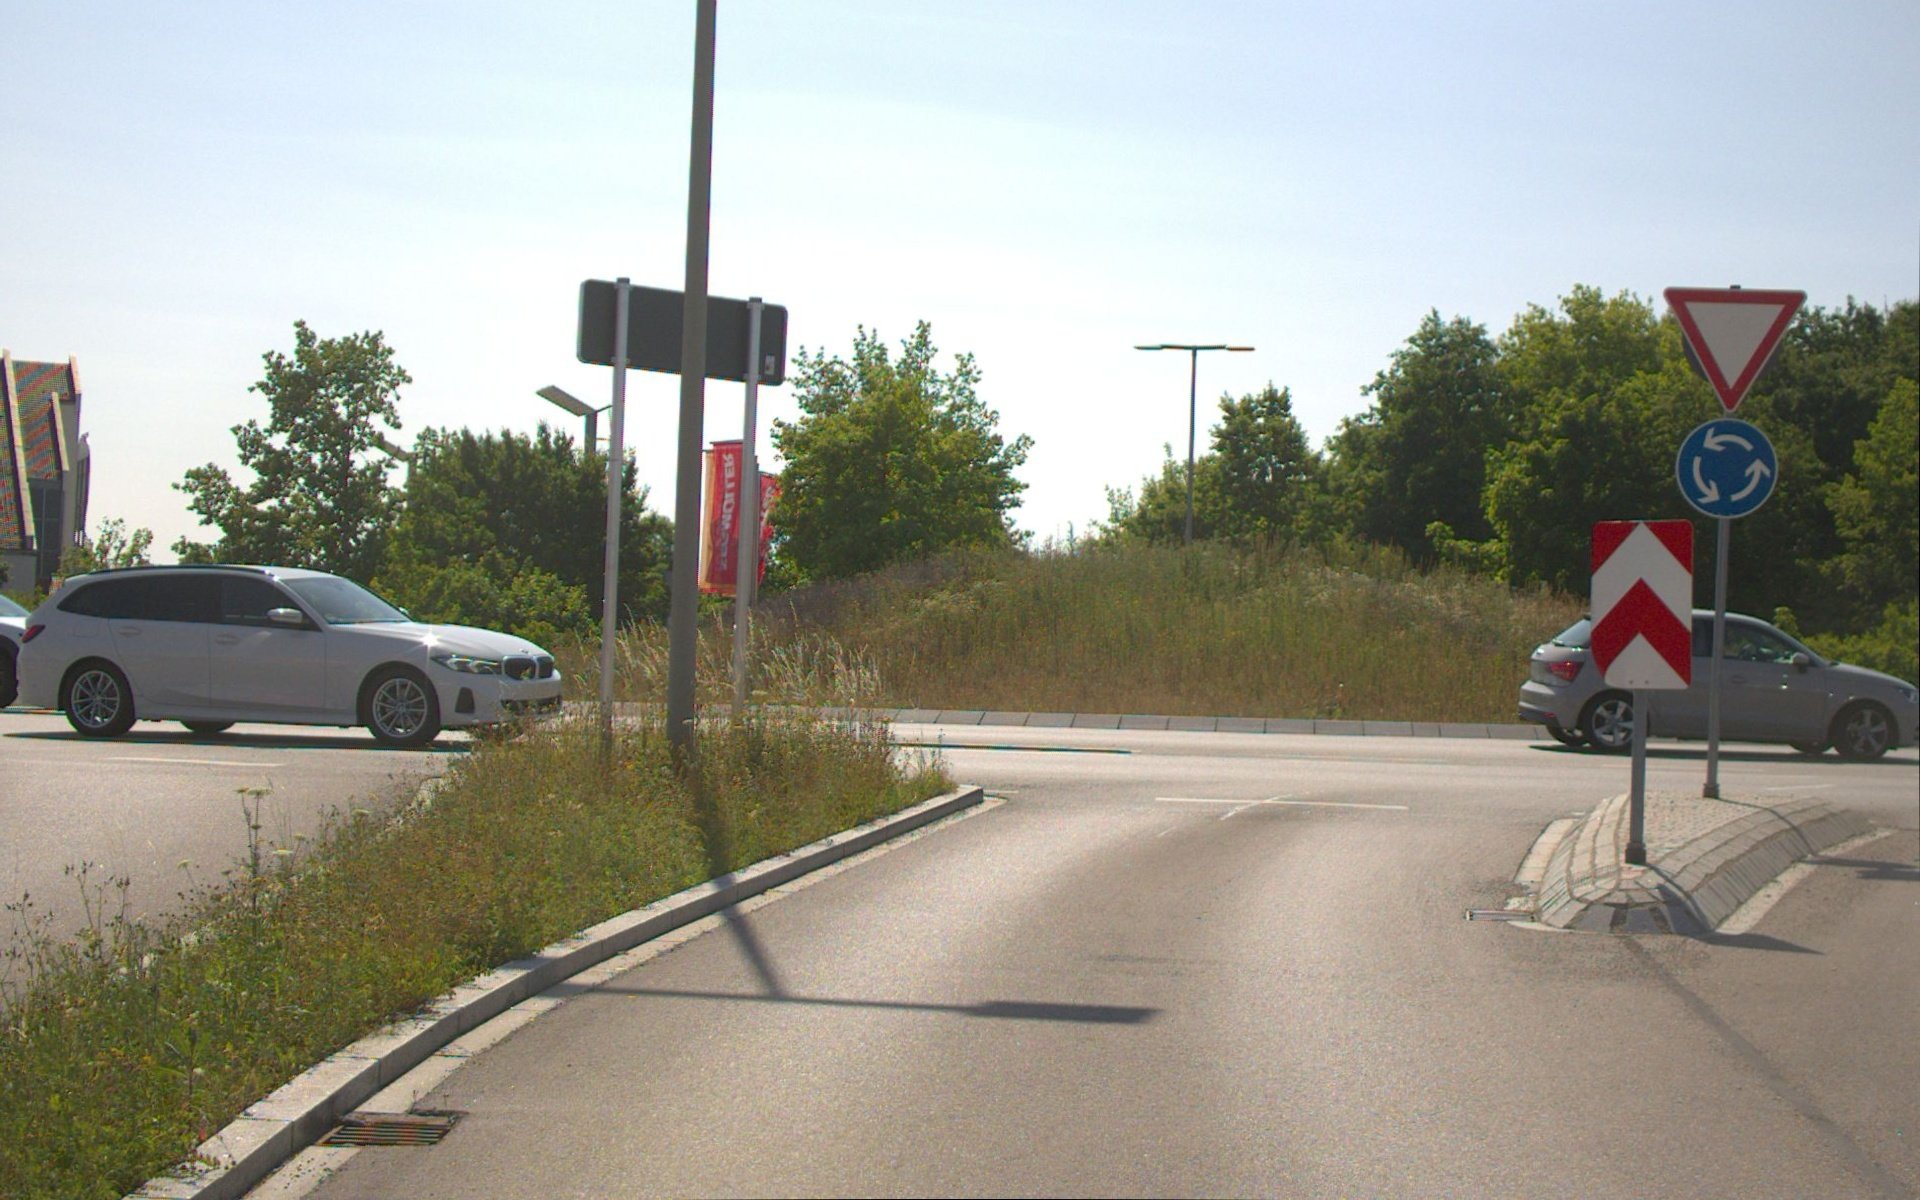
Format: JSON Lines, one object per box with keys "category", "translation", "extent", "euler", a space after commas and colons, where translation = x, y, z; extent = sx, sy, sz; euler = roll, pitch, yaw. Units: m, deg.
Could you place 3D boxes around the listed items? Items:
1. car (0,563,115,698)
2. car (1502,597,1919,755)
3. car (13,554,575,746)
{"category": "car", "translation": [-12.330, 0.305, 40.525], "extent": [4.278, 1.525, 1.790], "euler": [2, -1, 20]}
{"category": "car", "translation": [7.372, 0.734, 33.906], "extent": [3.757, 1.347, 1.531], "euler": [3, 0, 0]}
{"category": "car", "translation": [-5.518, 0.399, 28.493], "extent": [4.331, 1.347, 1.571], "euler": [3, 0, 20]}
